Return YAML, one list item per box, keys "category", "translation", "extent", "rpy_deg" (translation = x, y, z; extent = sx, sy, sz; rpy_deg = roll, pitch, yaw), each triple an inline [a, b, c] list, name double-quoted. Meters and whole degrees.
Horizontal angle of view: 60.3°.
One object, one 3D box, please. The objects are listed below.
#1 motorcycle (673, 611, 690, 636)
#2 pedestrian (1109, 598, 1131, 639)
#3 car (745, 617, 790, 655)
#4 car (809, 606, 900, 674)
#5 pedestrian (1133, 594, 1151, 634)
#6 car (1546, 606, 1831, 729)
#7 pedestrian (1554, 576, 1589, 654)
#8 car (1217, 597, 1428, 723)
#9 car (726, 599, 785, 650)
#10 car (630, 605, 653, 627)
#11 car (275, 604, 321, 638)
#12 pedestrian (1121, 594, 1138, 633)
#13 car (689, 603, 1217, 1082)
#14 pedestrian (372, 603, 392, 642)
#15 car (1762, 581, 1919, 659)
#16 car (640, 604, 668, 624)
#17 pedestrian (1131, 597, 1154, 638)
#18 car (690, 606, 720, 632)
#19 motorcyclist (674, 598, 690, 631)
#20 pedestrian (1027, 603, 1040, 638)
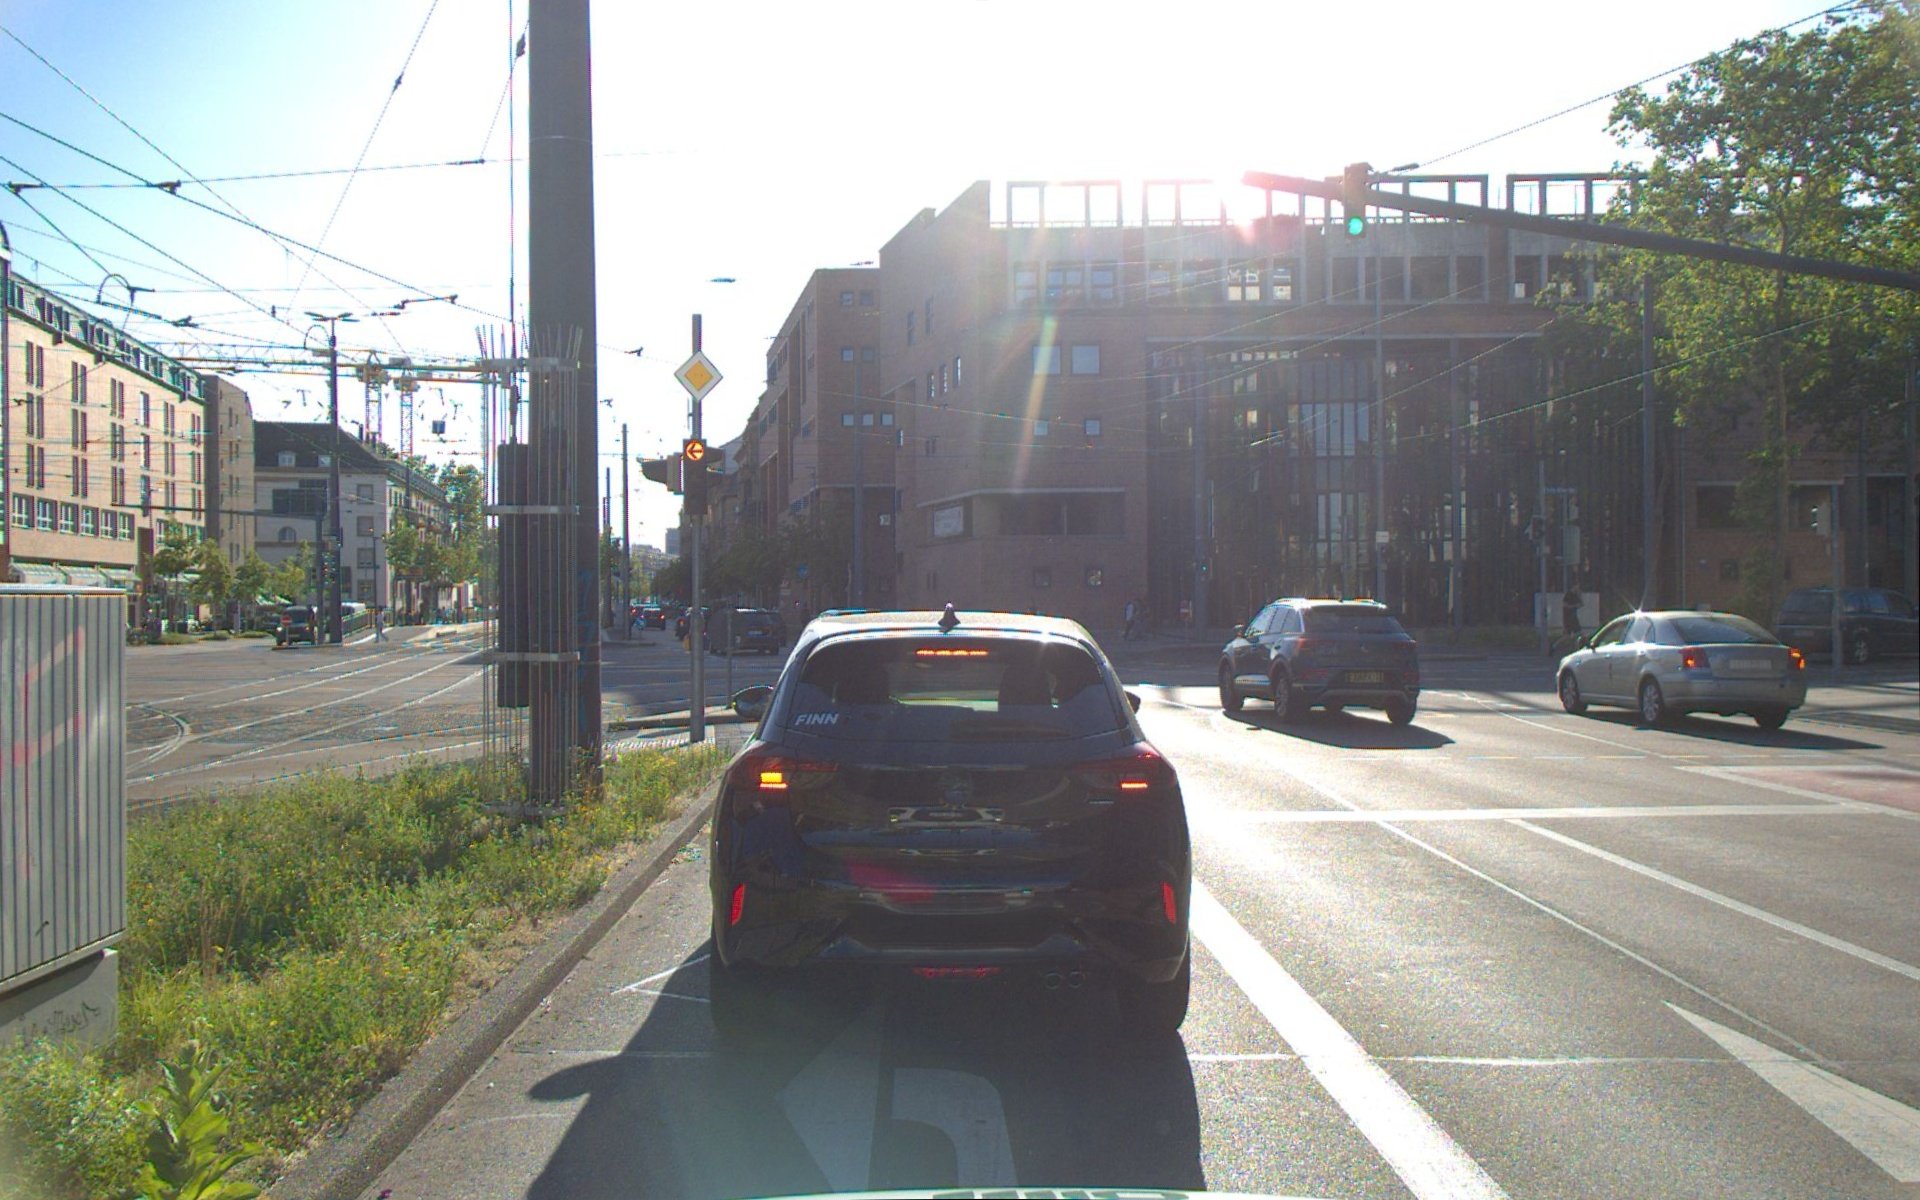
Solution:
- category: "motorcycle"
  translation: [-13.345, 1.126, 79.310]
  extent: [0.761, 1.135, 1.965]
  rpy_deg: [-1, 0, -9]
- category: "pedestrian"
  translation: [6.573, 0.749, 67.992]
  extent: [0.881, 1.645, 0.561]
  rpy_deg: [-1, 0, 8]
- category: "car"
  translation: [-8.012, 1.487, 68.791]
  extent: [1.773, 1.483, 3.994]
  rpy_deg: [1, 0, -7]
- category: "car"
  translation: [-2.490, 0.878, 38.372]
  extent: [1.655, 1.458, 4.143]
  rpy_deg: [-1, 0, -10]
- category: "pedestrian"
  translation: [7.600, 0.589, 69.035]
  extent: [0.722, 1.645, 0.561]
  rpy_deg: [-1, 0, 8]
- category: "car"
  translation: [9.719, 0.830, 22.491]
  extent: [1.716, 1.456, 4.486]
  rpy_deg: [-1, 0, -3]
- category: "pedestrian"
  translation: [14.214, 0.339, 38.453]
  extent: [0.692, 1.789, 0.560]
  rpy_deg: [-1, 0, 25]
- category: "car"
  translation: [4.784, 0.740, 22.360]
  extent: [1.711, 1.531, 3.876]
  rpy_deg: [-1, 0, -5]
- category: "car"
  translation: [-6.573, 0.745, 53.036]
  extent: [1.777, 1.518, 4.488]
  rpy_deg: [1, 0, -8]
- category: "car"
  translation: [-24.845, 1.235, 128.770]
  extent: [1.706, 1.680, 3.988]
  rpy_deg: [0, 0, -12]
- category: "car"
  translation: [-31.204, 0.976, 78.019]
  extent: [1.717, 1.531, 3.861]
  rpy_deg: [-1, 0, -18]
- category: "pedestrian"
  translation: [7.212, 0.585, 70.360]
  extent: [0.722, 1.645, 0.561]
  rpy_deg: [-1, 0, 8]
- category: "car"
  translation: [-0.006, 0.750, 7.096]
  extent: [1.615, 1.458, 4.000]
  rpy_deg: [0, 0, 0]
- category: "pedestrian"
  translation: [-25.078, 0.987, 71.769]
  extent: [0.752, 1.669, 0.742]
  rpy_deg: [-1, 0, -13]
- category: "car"
  translation: [20.121, 0.420, 37.002]
  extent: [4.397, 1.657, 1.678]
  rpy_deg: [0, 0, -28]
- category: "car"
  translation: [-20.759, 0.937, 112.132]
  extent: [1.707, 1.373, 3.988]
  rpy_deg: [0, 0, -12]
- category: "pedestrian"
  translation: [7.459, 0.699, 67.572]
  extent: [0.881, 1.645, 0.561]
  rpy_deg: [-1, 0, 8]
- category: "car"
  translation: [-15.348, 1.138, 99.568]
  extent: [1.774, 1.483, 3.992]
  rpy_deg: [1, 0, -9]
- category: "motorcyclist"
  translation: [-13.349, 0.696, 79.454]
  extent: [0.731, 1.557, 1.019]
  rpy_deg: [-1, 0, -9]
- category: "pedestrian"
  translation: [3.098, 0.865, 69.965]
  extent: [0.519, 1.455, 0.598]
  rpy_deg: [-1, 0, -1]
